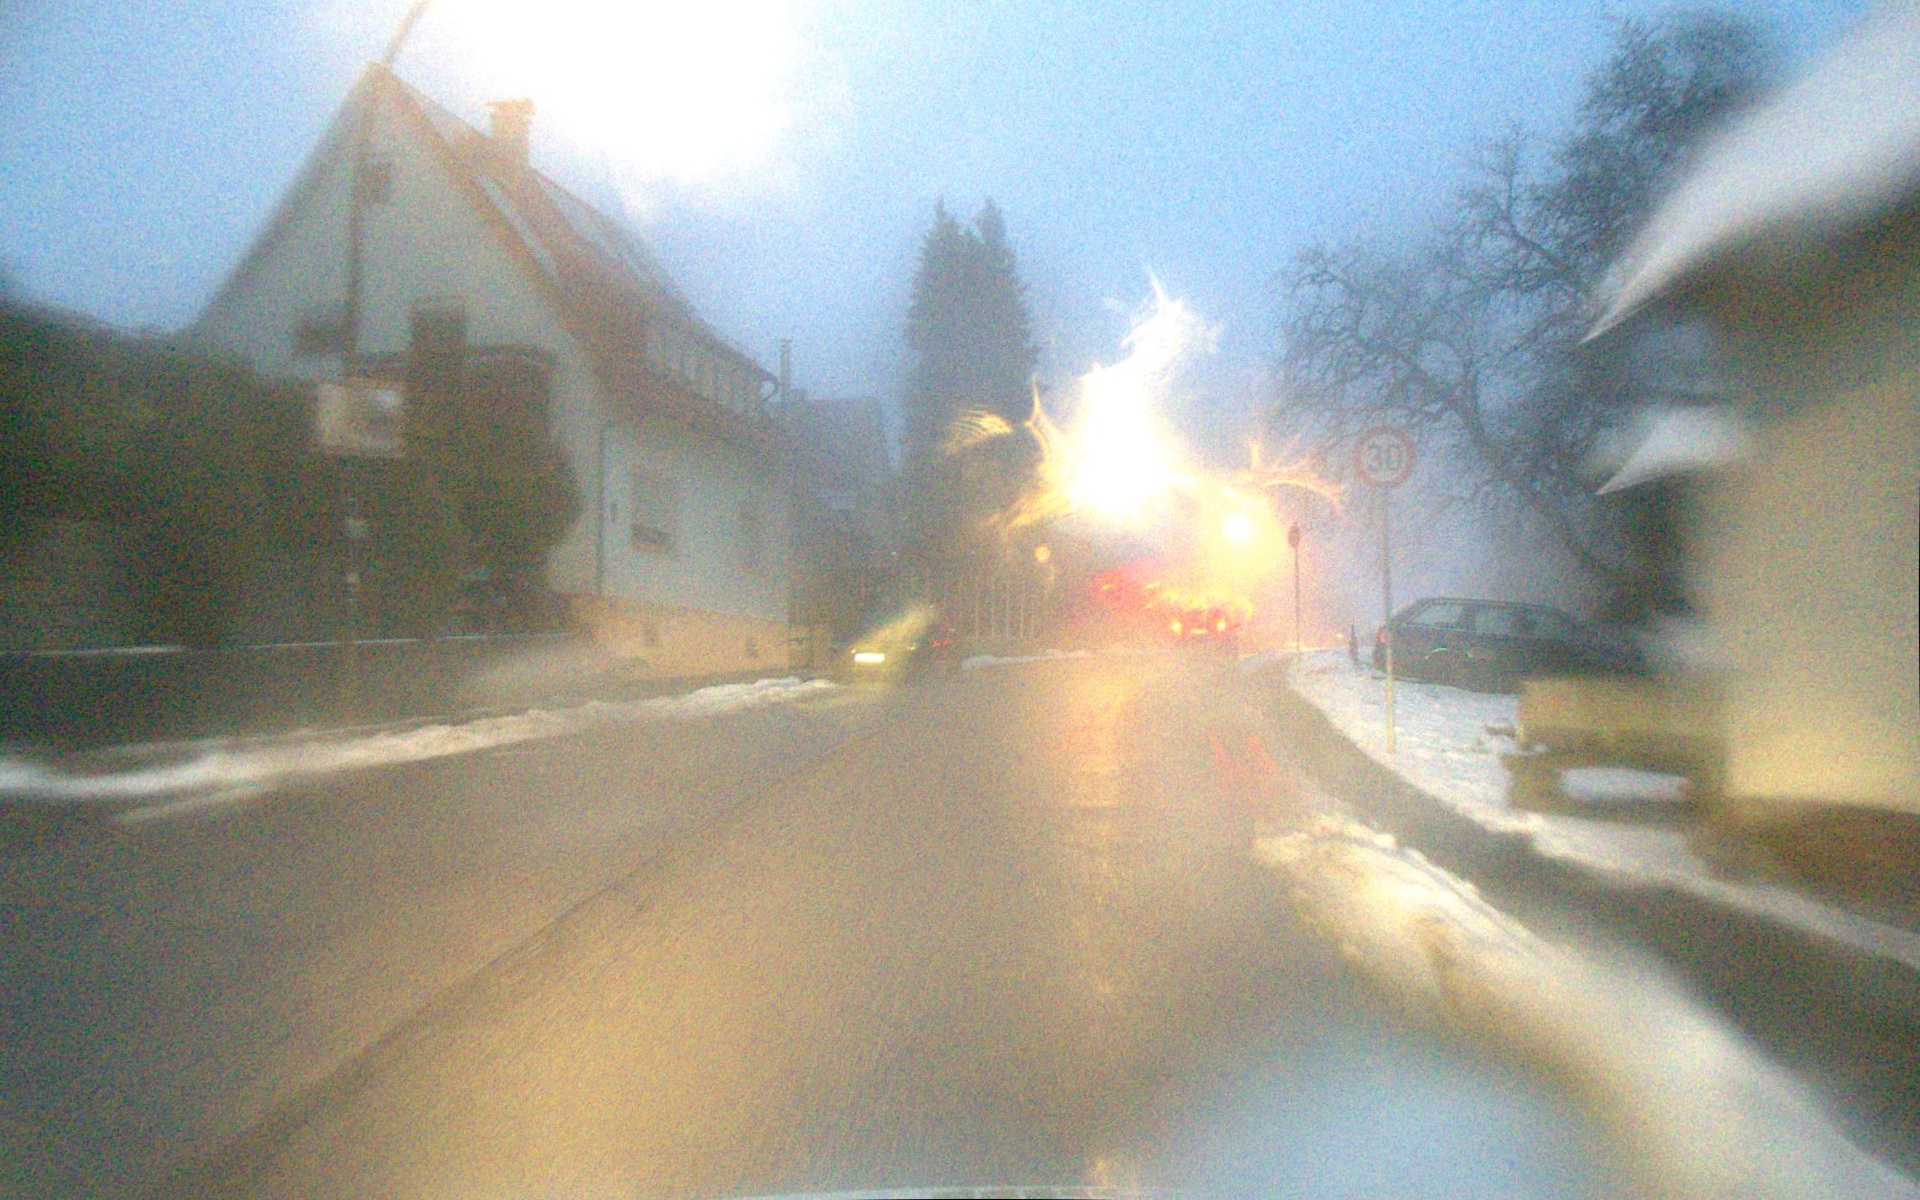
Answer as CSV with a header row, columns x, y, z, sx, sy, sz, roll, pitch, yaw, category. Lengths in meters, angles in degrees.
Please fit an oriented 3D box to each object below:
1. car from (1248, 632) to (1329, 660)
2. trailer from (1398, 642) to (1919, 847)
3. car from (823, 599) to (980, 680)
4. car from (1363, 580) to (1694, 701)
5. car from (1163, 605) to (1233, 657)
x,y,z,sx,sy,sz,roll,pitch,yaw,category
21.252,2.985,107.022,4.789,1.511,2.122,-4,-4,23,car
4.609,0.806,10.743,1.520,0.962,3.980,-2,0,-17,trailer
-1.041,0.720,32.586,1.836,1.451,5.396,0,0,12,car
8.234,0.561,24.382,4.356,1.406,2.037,4,0,13,car
7.032,0.932,48.761,1.951,1.445,4.003,-1,-2,8,car
